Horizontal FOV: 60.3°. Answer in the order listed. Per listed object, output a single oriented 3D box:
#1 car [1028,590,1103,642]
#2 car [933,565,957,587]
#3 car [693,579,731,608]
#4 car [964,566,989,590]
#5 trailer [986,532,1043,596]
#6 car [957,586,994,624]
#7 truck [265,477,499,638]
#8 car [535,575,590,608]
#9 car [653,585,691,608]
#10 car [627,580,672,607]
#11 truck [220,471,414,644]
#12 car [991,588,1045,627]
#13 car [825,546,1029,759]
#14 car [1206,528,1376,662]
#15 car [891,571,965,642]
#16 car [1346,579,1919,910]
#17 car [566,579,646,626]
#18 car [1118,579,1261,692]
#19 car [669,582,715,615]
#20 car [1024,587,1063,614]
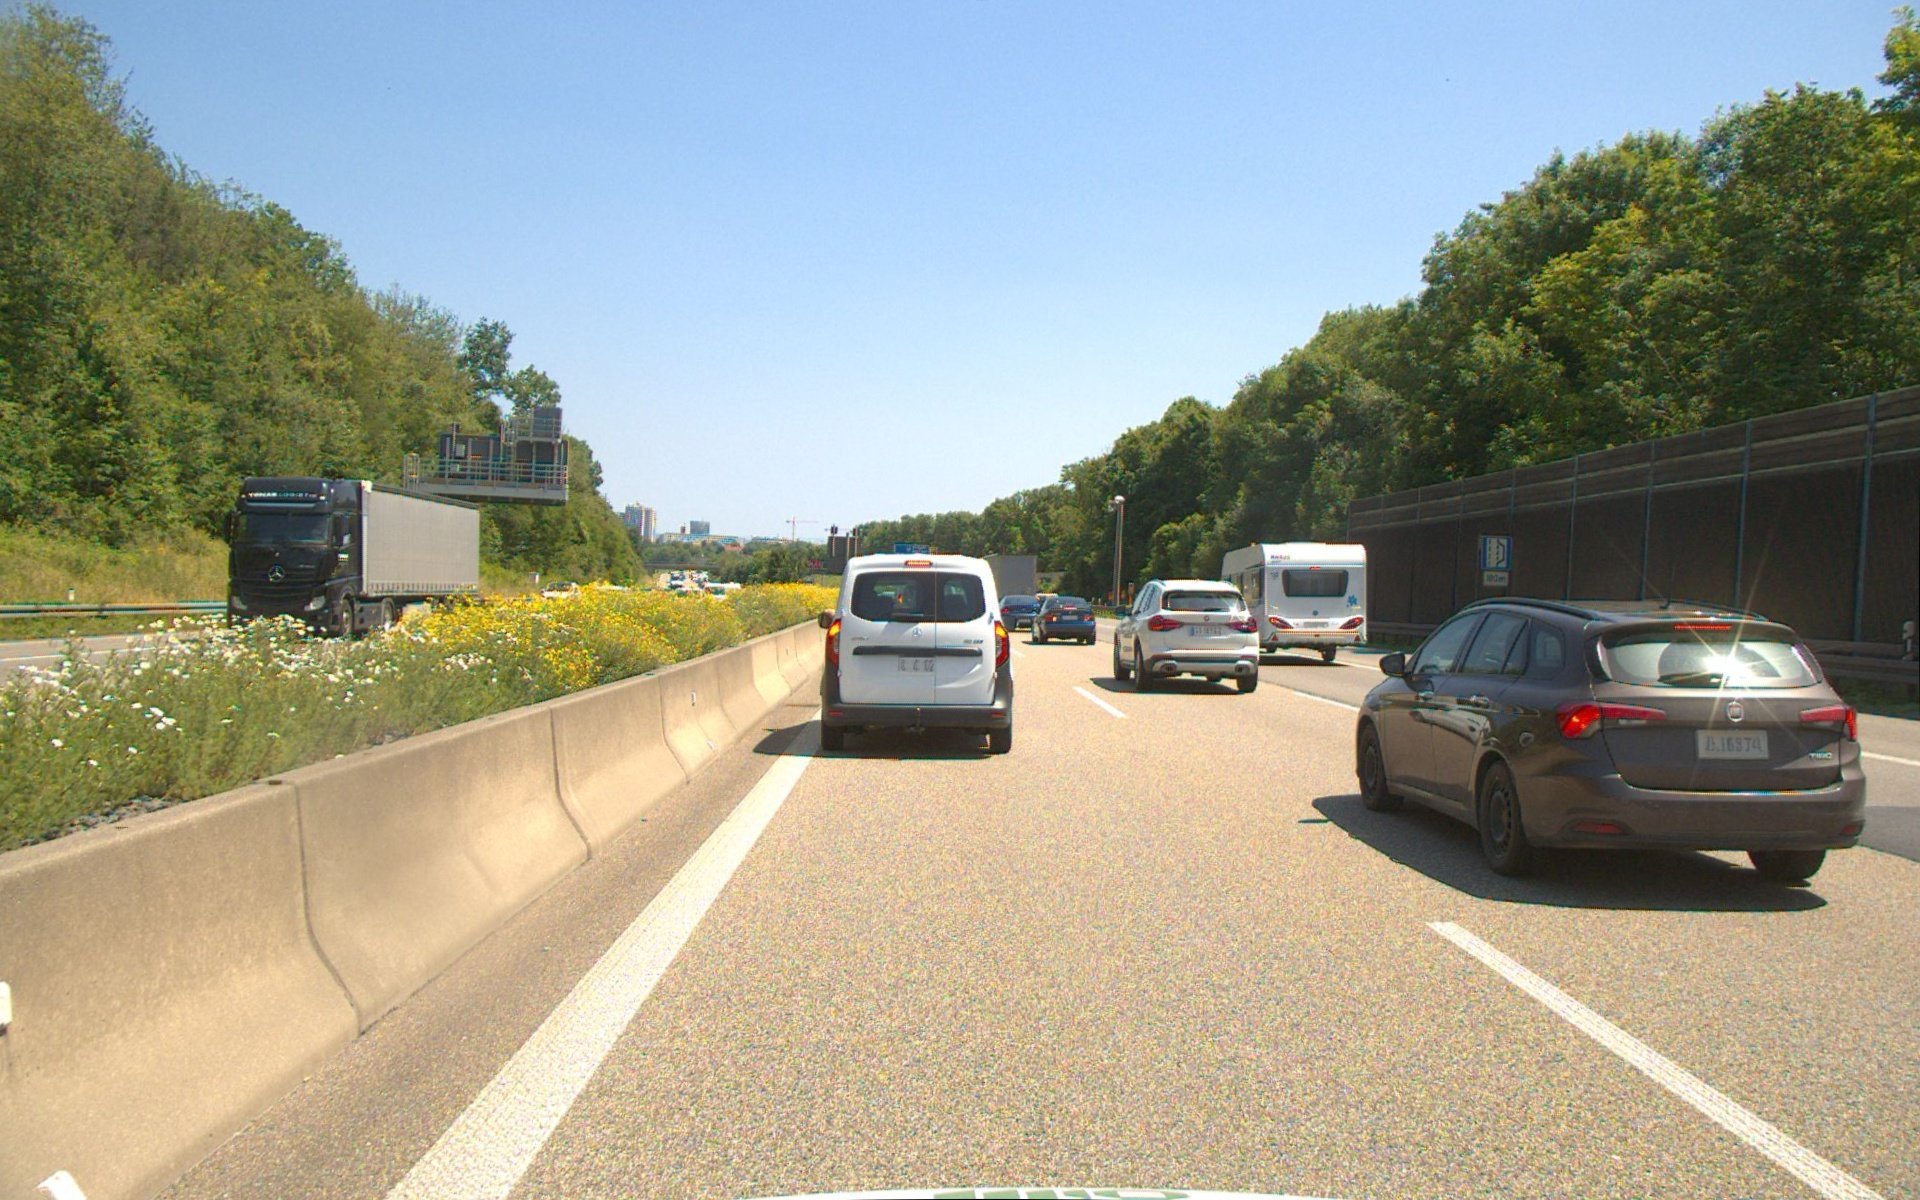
[{"bbox_3d":[3.077,0.434,48.829,1.787,1.449,3.998,1,0,-3],"label":"car"},{"bbox_3d":[-1.494,-2.296,159.901,1.955,2.049,3.995,0,0,-6],"label":"car"},{"bbox_3d":[-15.660,-0.433,104.738,1.847,1.786,4.275,1,0,-2],"label":"car"},{"bbox_3d":[1.446,-1.884,142.758,1.953,2.049,3.998,0,0,-2],"label":"car"},{"bbox_3d":[3.586,-2.312,110.960,3.020,4.055,10.318,1,0,-3],"label":"trailer"},{"bbox_3d":[0.847,0.267,90.128,1.787,2.024,3.998,1,0,-3],"label":"car"},{"bbox_3d":[-16.438,-1.142,48.453,2.773,4.007,13.736,1,1,-3],"label":"truck"},{"bbox_3d":[-21.601,-0.471,90.069,1.953,1.721,4.766,1,0,-2],"label":"car"},{"bbox_3d":[-19.484,-0.255,112.149,1.953,1.469,4.006,1,0,-2],"label":"car"},{"bbox_3d":[-17.879,-0.379,95.324,1.953,1.517,3.999,1,0,-2],"label":"car"},{"bbox_3d":[-15.984,-1.021,41.584,2.773,4.008,6.003,1,0,-3],"label":"truck"},{"bbox_3d":[2.207,0.289,64.181,1.787,1.449,3.998,1,0,-3],"label":"car"},{"bbox_3d":[-0.262,0.446,16.502,1.765,1.839,4.000,1,0,1],"label":"car"},{"bbox_3d":[7.511,-0.117,38.275,2.429,2.814,6.217,1,0,-3],"label":"car"},{"bbox_3d":[-0.947,0.170,46.353,1.953,1.892,3.998,1,0,-3],"label":"car"},{"bbox_3d":[3.825,0.662,10.072,1.801,1.539,4.401,1,1,-2],"label":"car"},{"bbox_3d":[-12.200,0.068,57.295,1.953,1.524,4.246,1,0,-2],"label":"car"},{"bbox_3d":[3.583,0.502,26.419,1.832,1.636,3.880,1,1,2],"label":"car"},{"bbox_3d":[-12.677,-0.091,78.399,1.641,1.524,3.881,1,0,-2],"label":"car"},{"bbox_3d":[4.652,0.015,92.193,1.787,1.449,3.998,1,0,-3],"label":"car"}]
